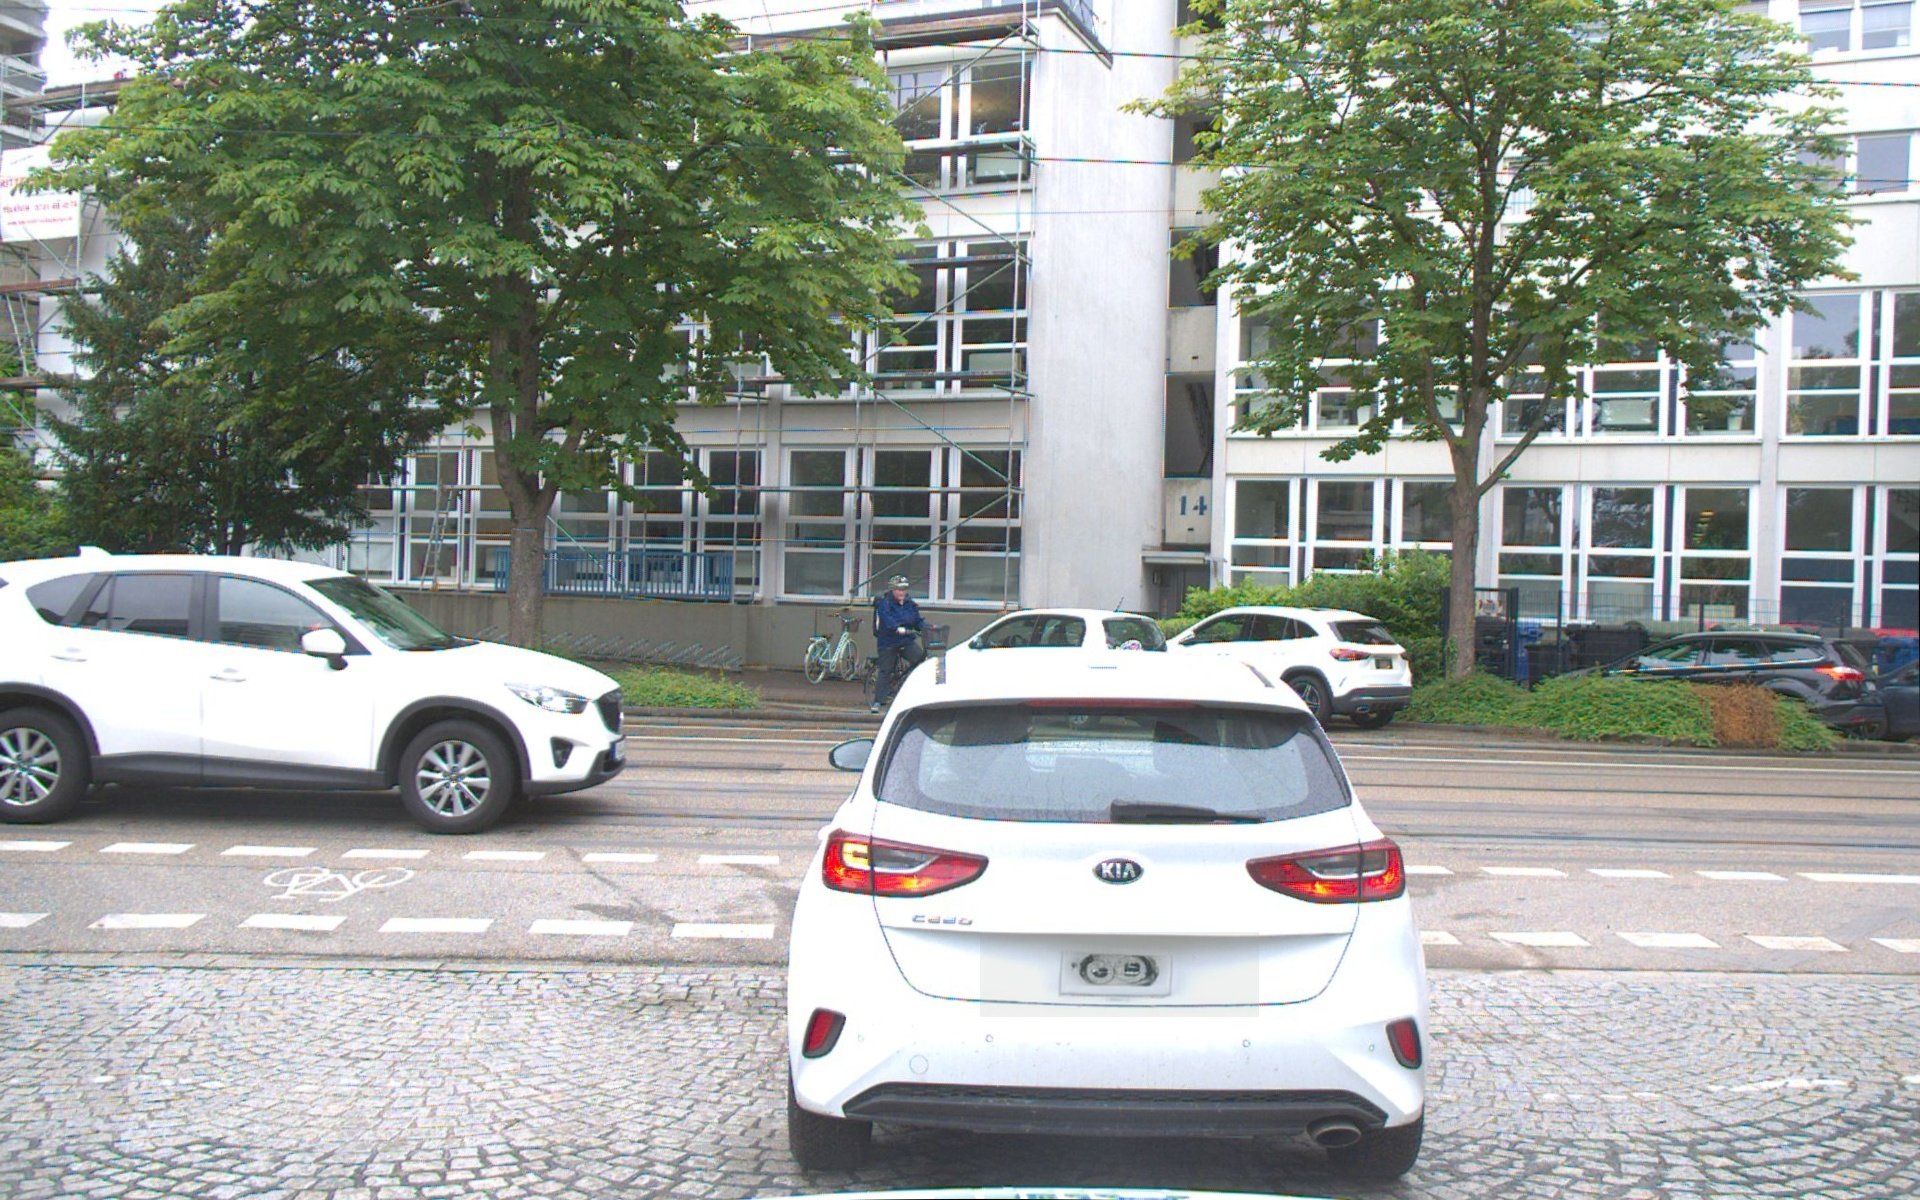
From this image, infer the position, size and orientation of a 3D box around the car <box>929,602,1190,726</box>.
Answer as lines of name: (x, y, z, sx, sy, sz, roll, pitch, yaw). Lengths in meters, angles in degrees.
car: (1.286, 0.804, 22.208, 1.545, 1.499, 3.352, 1, 0, -44)

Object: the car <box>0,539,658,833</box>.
car: (-4.469, 0.517, 11.236, 4.495, 1.733, 1.999, 2, 1, -4)

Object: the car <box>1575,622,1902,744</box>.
car: (10.863, 1.091, 23.203, 3.881, 1.499, 1.665, 1, 0, 40)

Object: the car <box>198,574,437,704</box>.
car: (-8.341, 0.457, 21.371, 3.279, 1.537, 1.608, 1, 0, 43)

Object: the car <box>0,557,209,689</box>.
car: (-11.164, 0.256, 21.243, 3.279, 1.564, 1.608, 1, 0, 43)

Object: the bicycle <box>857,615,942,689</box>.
bicycle: (-0.994, 0.846, 27.988, 0.631, 1.093, 2.313, 1, 2, 19)

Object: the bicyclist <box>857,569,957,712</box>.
bicyclist: (-0.662, 0.491, 20.603, 0.882, 1.727, 0.828, 1, 0, 44)

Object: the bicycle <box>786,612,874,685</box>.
bicycle: (-2.209, 0.813, 28.434, 0.631, 1.093, 2.313, 1, 2, 19)

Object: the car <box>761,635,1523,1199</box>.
car: (0.497, 0.865, 5.798, 1.738, 1.458, 3.979, 1, -1, 2)

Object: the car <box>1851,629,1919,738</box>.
car: (14.340, 1.183, 22.854, 3.331, 1.499, 1.407, 1, 0, 43)

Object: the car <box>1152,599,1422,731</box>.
car: (4.424, 0.829, 22.655, 1.545, 1.646, 3.352, 1, 0, -44)

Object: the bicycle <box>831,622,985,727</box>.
bicycle: (-0.662, 0.901, 20.596, 1.883, 1.194, 0.816, 2, 0, 44)
